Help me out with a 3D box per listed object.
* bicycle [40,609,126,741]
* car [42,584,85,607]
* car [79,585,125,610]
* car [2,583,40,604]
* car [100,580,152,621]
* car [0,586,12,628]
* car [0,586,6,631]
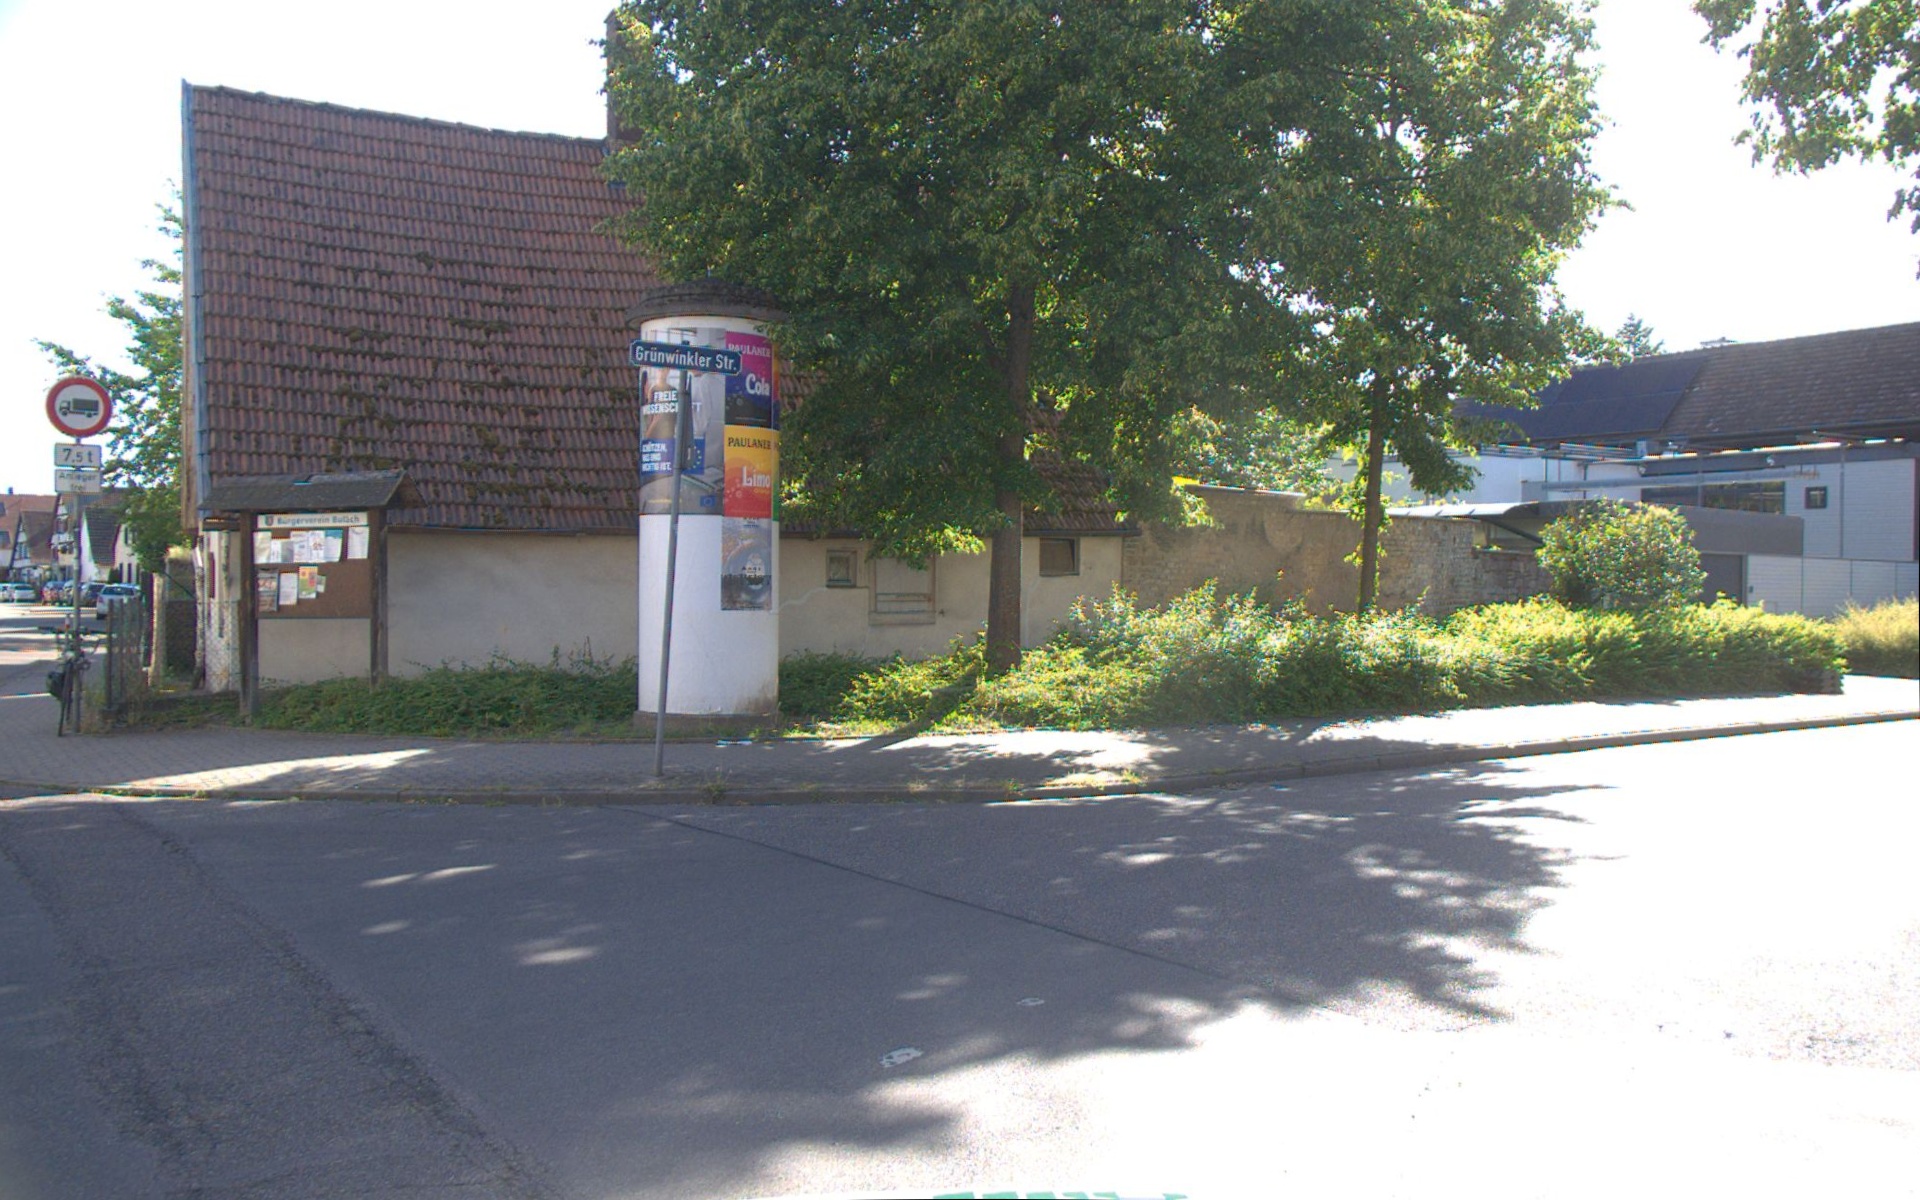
[{"bbox_3d":[-8.601,0.699,16.271,0.426,1.197,1.820,0,0,-18],"label":"bicycle"},{"bbox_3d":[-63.819,-0.320,117.703,1.961,1.610,3.938,0,0,-39],"label":"car"},{"bbox_3d":[-57.074,-0.157,110.005,1.961,1.610,3.938,0,0,-39],"label":"car"},{"bbox_3d":[-73.765,-0.517,129.844,1.961,1.610,3.938,0,0,-39],"label":"car"},{"bbox_3d":[-36.767,0.019,72.846,1.951,1.744,3.958,0,0,-28],"label":"car"},{"bbox_3d":[-35.183,0.224,59.653,1.570,1.468,3.581,0,0,-28],"label":"car"},{"bbox_3d":[-33.032,0.274,55.577,1.570,1.468,3.581,0,0,-28],"label":"car"}]
